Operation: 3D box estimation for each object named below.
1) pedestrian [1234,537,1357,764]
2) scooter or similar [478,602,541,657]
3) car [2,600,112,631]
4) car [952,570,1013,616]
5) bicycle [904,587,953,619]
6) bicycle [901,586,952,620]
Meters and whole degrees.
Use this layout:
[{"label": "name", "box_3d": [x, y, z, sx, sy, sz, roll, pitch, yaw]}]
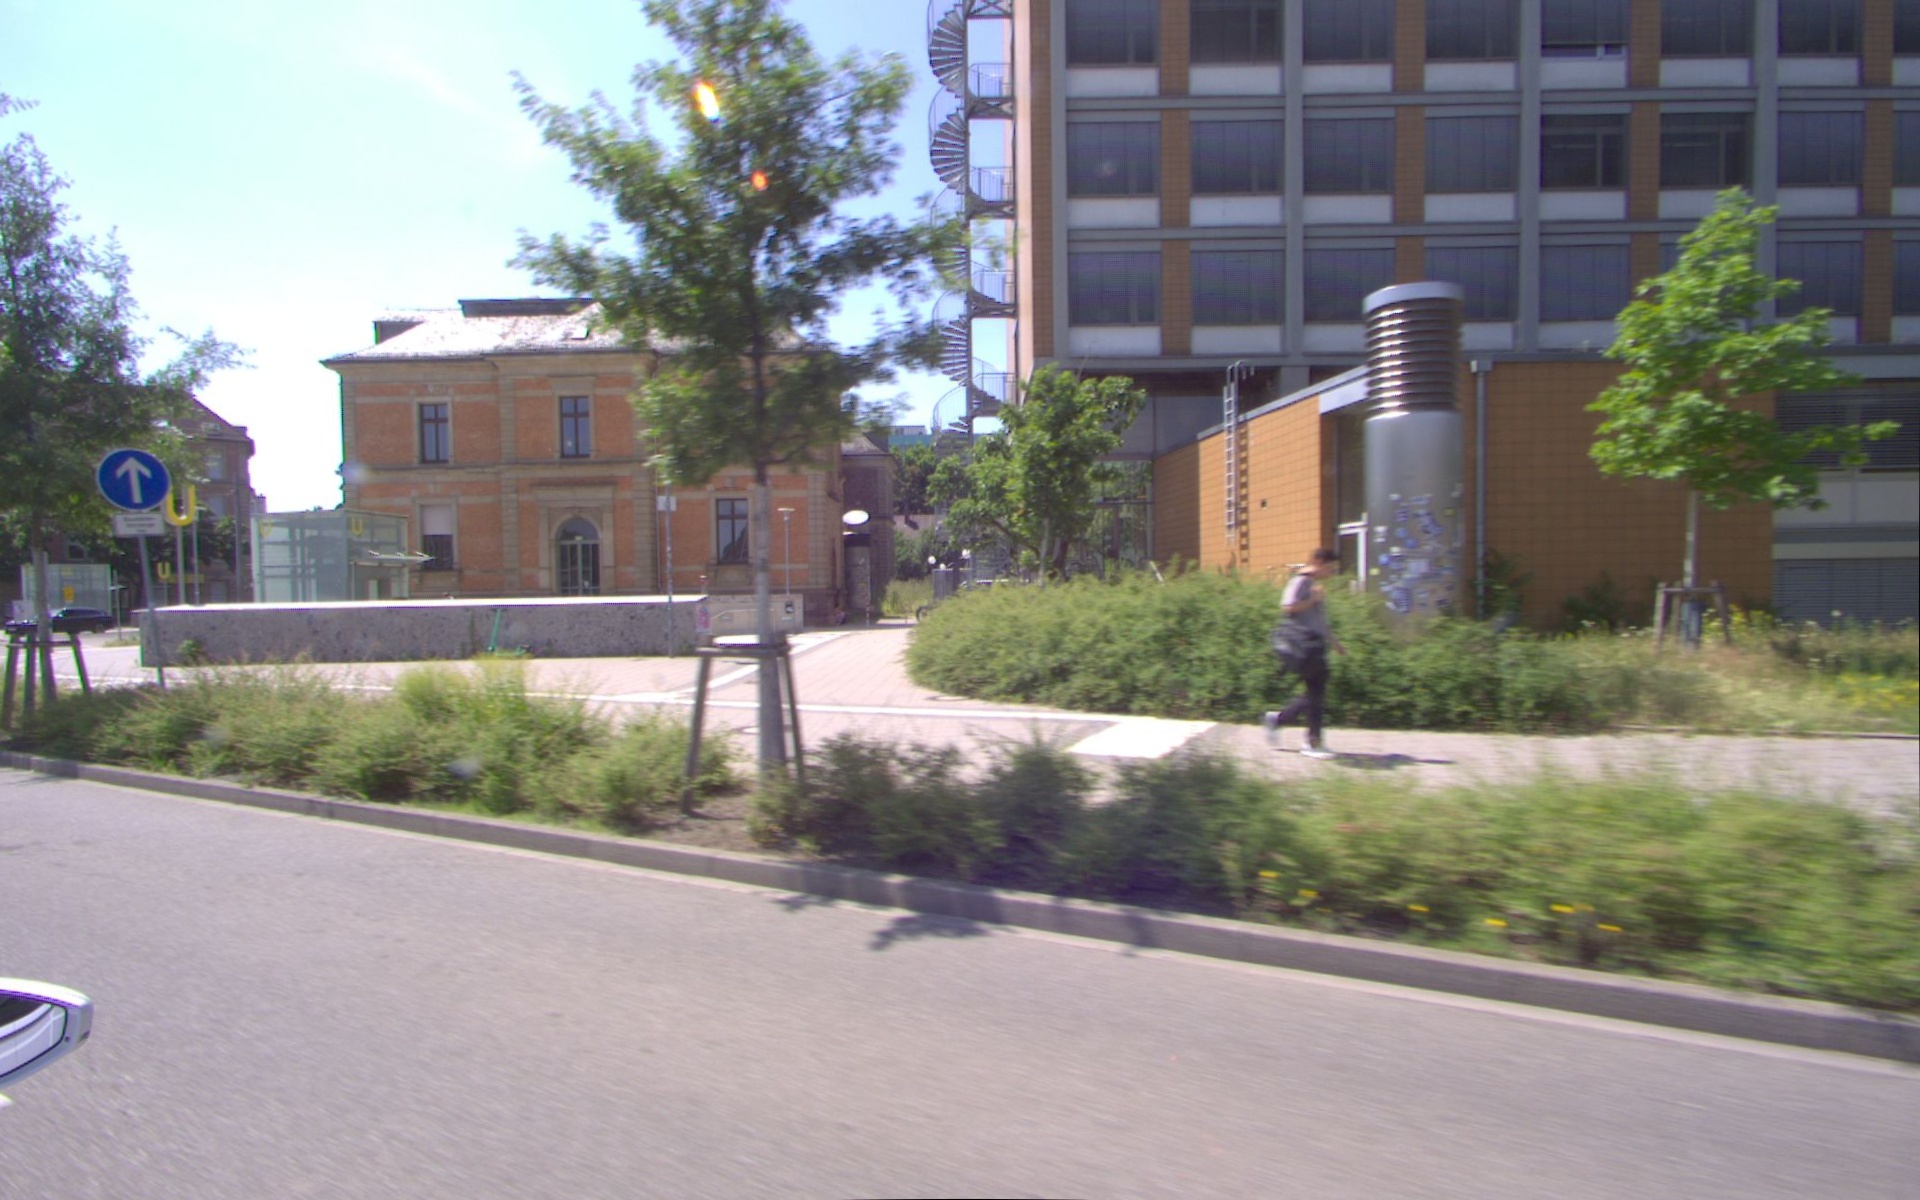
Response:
[{"label": "pedestrian", "box_3d": [2.732, 0.384, 8.135, 0.799, 1.728, 0.730, 1, 1, 32]}, {"label": "scooter or similar", "box_3d": [-10.037, 0.646, 22.319, 1.265, 1.183, 0.397, 1, 1, 9]}, {"label": "car", "box_3d": [-47.524, 0.781, 52.810, 1.665, 1.470, 4.111, 2, 1, 12]}, {"label": "car", "box_3d": [1.389, -0.431, 61.635, 3.658, 2.680, 1.166, 1, 1, 6]}, {"label": "bicycle", "box_3d": [-1.363, 0.114, 43.478, 2.036, 1.320, 0.767, 1, 1, 4]}, {"label": "bicycle", "box_3d": [-1.423, 0.124, 42.281, 2.068, 1.379, 0.767, 1, 1, 4]}]
